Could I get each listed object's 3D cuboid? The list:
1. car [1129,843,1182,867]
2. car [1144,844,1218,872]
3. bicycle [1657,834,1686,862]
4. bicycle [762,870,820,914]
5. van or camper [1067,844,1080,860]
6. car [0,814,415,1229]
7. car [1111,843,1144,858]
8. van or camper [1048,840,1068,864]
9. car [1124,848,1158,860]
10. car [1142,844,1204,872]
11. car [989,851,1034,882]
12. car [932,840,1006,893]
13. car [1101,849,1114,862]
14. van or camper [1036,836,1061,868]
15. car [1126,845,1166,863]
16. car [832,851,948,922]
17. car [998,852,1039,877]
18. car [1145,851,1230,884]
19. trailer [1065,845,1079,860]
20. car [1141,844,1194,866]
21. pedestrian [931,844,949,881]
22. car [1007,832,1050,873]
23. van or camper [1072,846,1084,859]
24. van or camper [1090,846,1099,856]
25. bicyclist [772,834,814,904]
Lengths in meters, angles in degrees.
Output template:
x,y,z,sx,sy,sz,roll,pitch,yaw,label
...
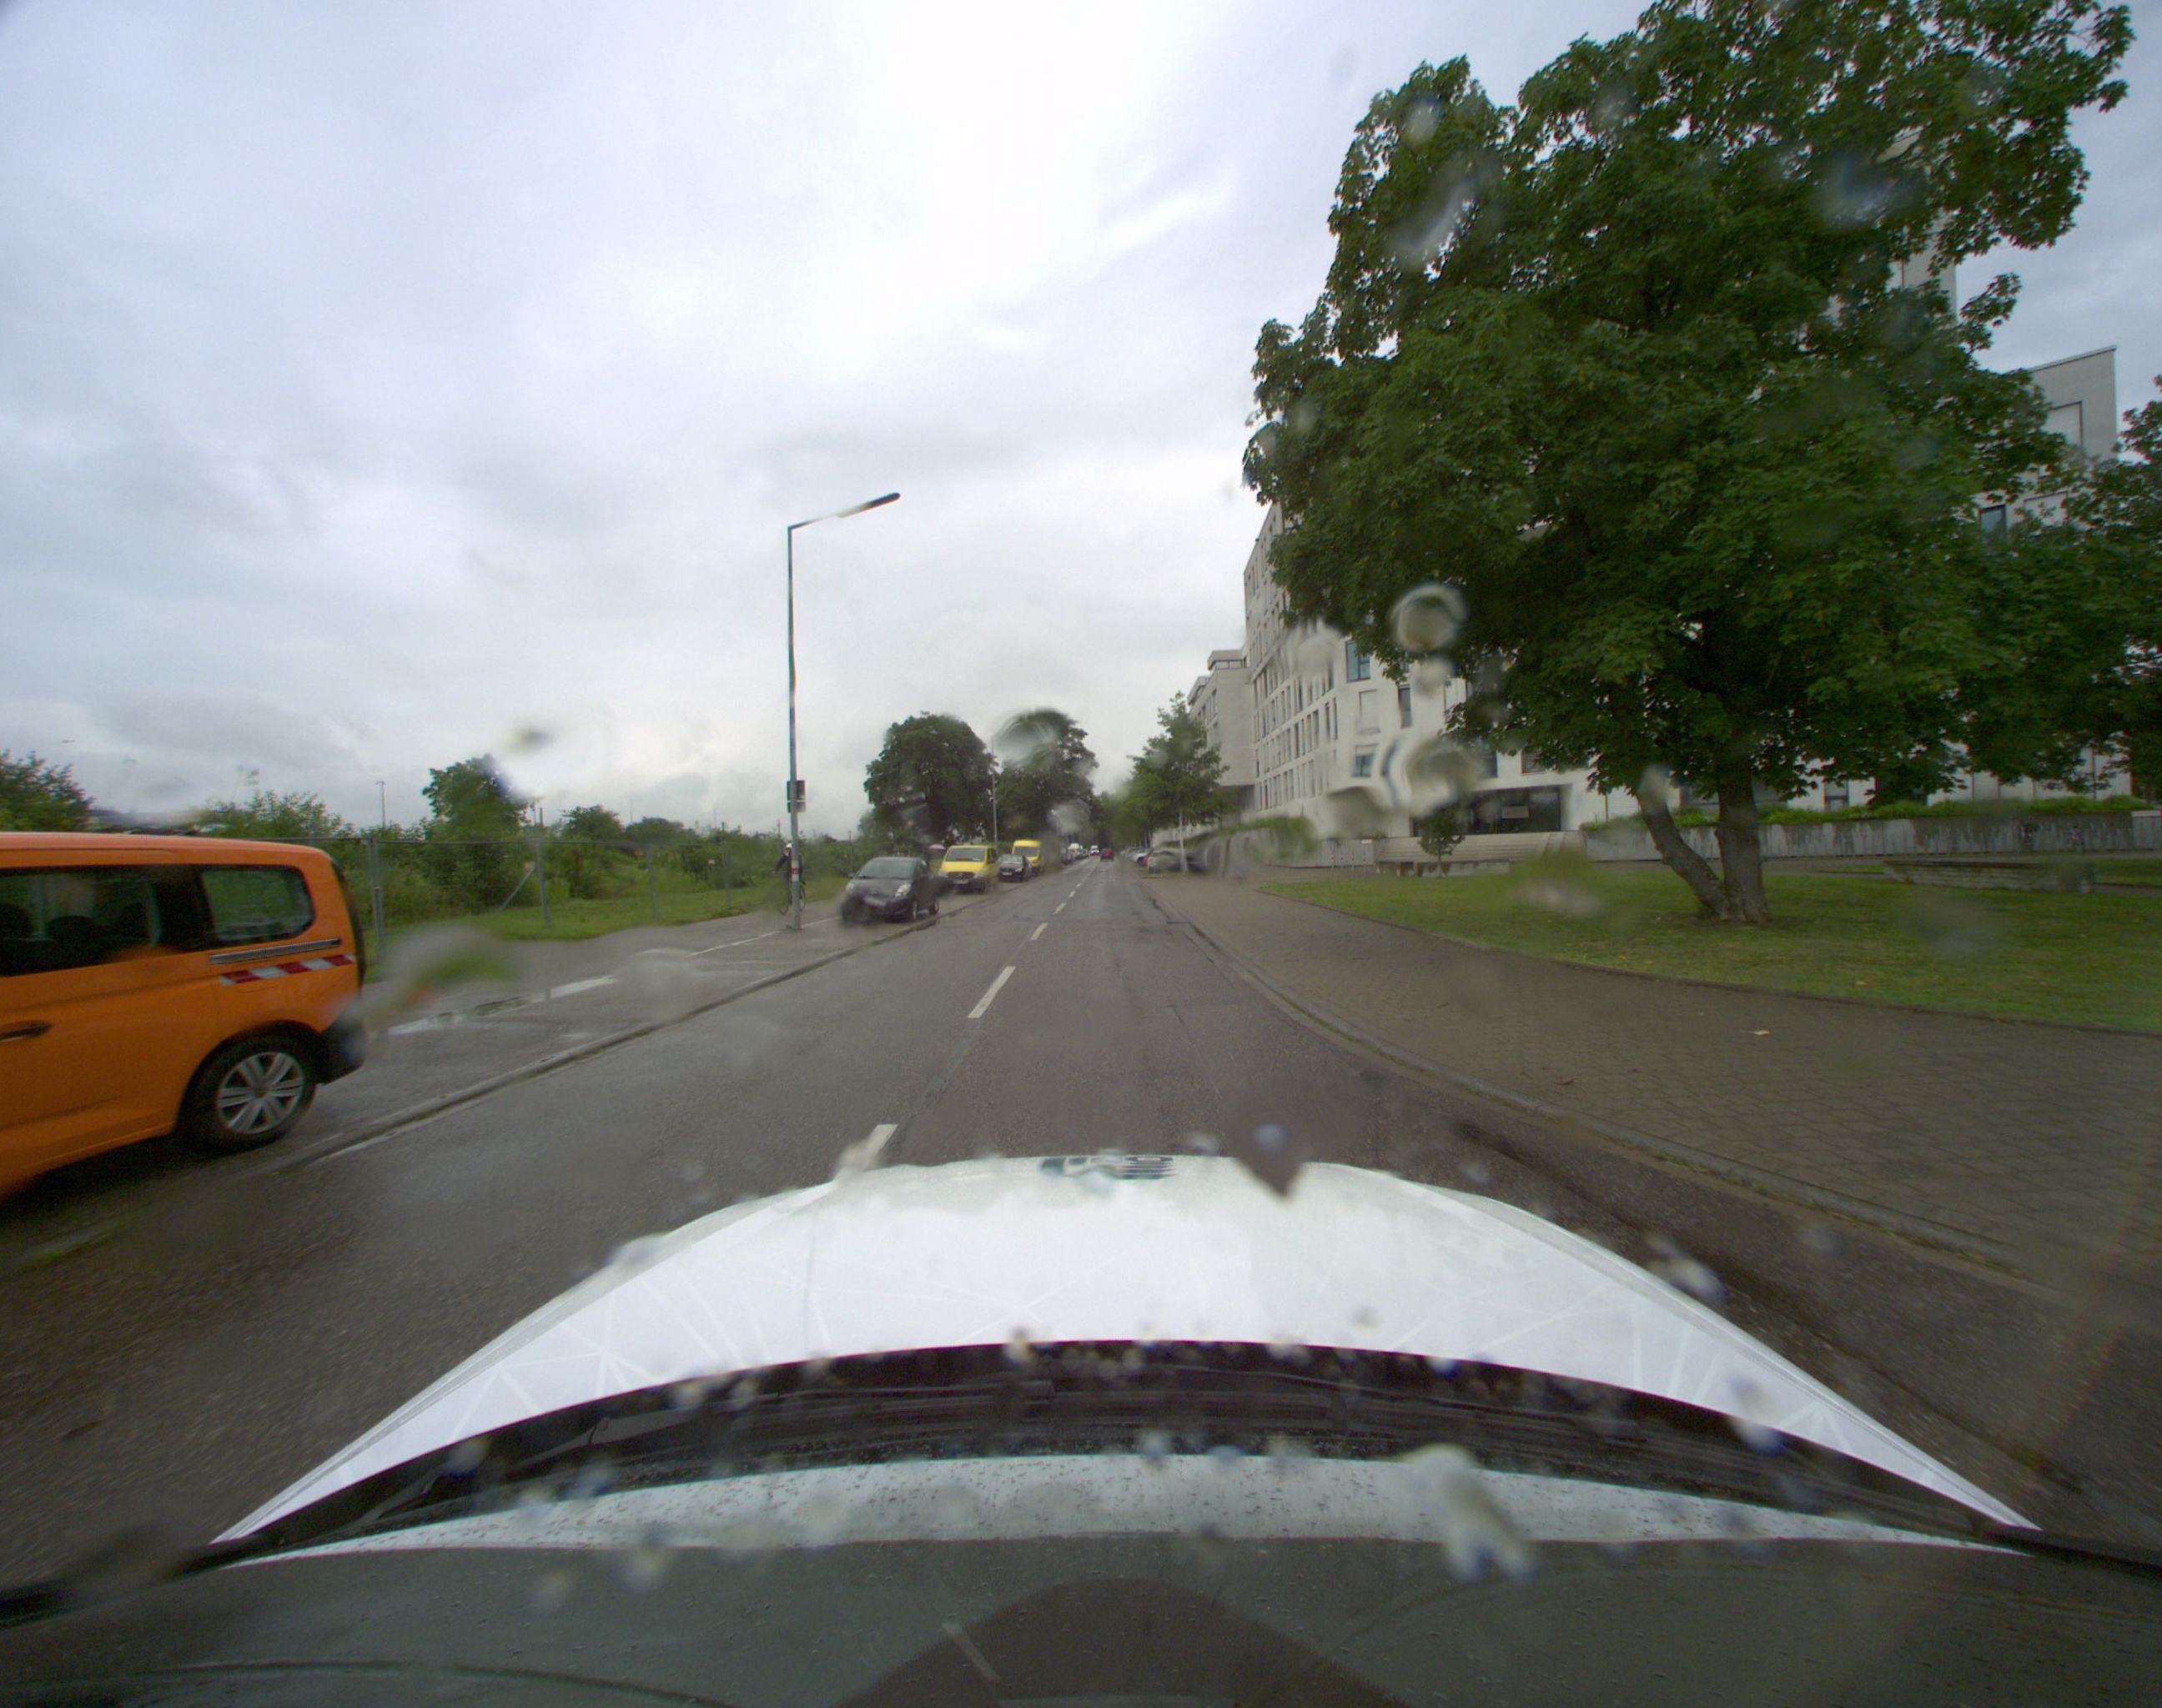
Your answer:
x,y,z,sx,sy,sz,roll,pitch,yaw,label
6.860,0.118,75.102,4.527,1.685,1.885,-7,0,-1,car
6.389,0.254,52.154,4.471,1.481,1.692,-4,0,1,car
22.969,-0.235,31.647,0.716,1.033,2.086,-2,0,41,bicycle
-7.736,0.985,21.833,0.713,1.042,2.146,-1,0,2,bicycle
-1.269,-0.374,145.547,1.986,2.762,7.902,0,0,2,van or camper
-5.582,0.716,3.355,1.931,1.767,4.335,0,0,4,car
6.937,-0.525,121.963,4.607,2.019,1.857,-2,2,-3,car
-2.738,-0.199,97.270,2.087,2.715,7.573,1,0,0,van or camper
8.038,0.000,109.146,4.286,1.428,1.636,-4,0,-1,car
6.156,0.258,54.824,3.972,1.555,1.635,-5,0,2,car
-3.809,0.659,45.290,1.987,1.594,5.018,1,0,1,car
-4.395,0.467,32.996,2.009,1.956,6.067,0,0,2,car
3.618,0.253,111.579,1.749,1.706,4.002,-2,-1,2,car
-3.193,-0.189,81.411,2.087,3.094,6.424,1,0,1,van or camper
7.703,-0.029,96.813,4.462,1.686,1.936,-5,1,0,car
-4.628,0.722,20.328,1.797,1.561,4.035,1,1,2,car
-3.836,0.651,50.629,2.003,1.434,5.341,1,0,1,car
6.036,0.776,46.372,4.555,1.497,1.826,-4,0,0,car
-1.452,-0.253,131.633,2.052,2.218,5.794,0,0,0,trailer
6.889,0.117,64.913,3.973,1.451,1.821,-4,-1,0,car
-7.682,0.462,44.523,0.739,2.013,0.981,-1,0,2,pedestrian
-3.613,-0.091,57.004,2.182,2.694,6.087,1,0,3,car
-0.581,-0.238,158.344,2.181,2.461,6.380,0,0,2,van or camper
3.660,-0.820,214.102,1.985,2.497,7.183,-3,0,3,van or camper
-7.744,0.384,21.917,0.695,1.829,1.009,-1,0,2,bicyclist
